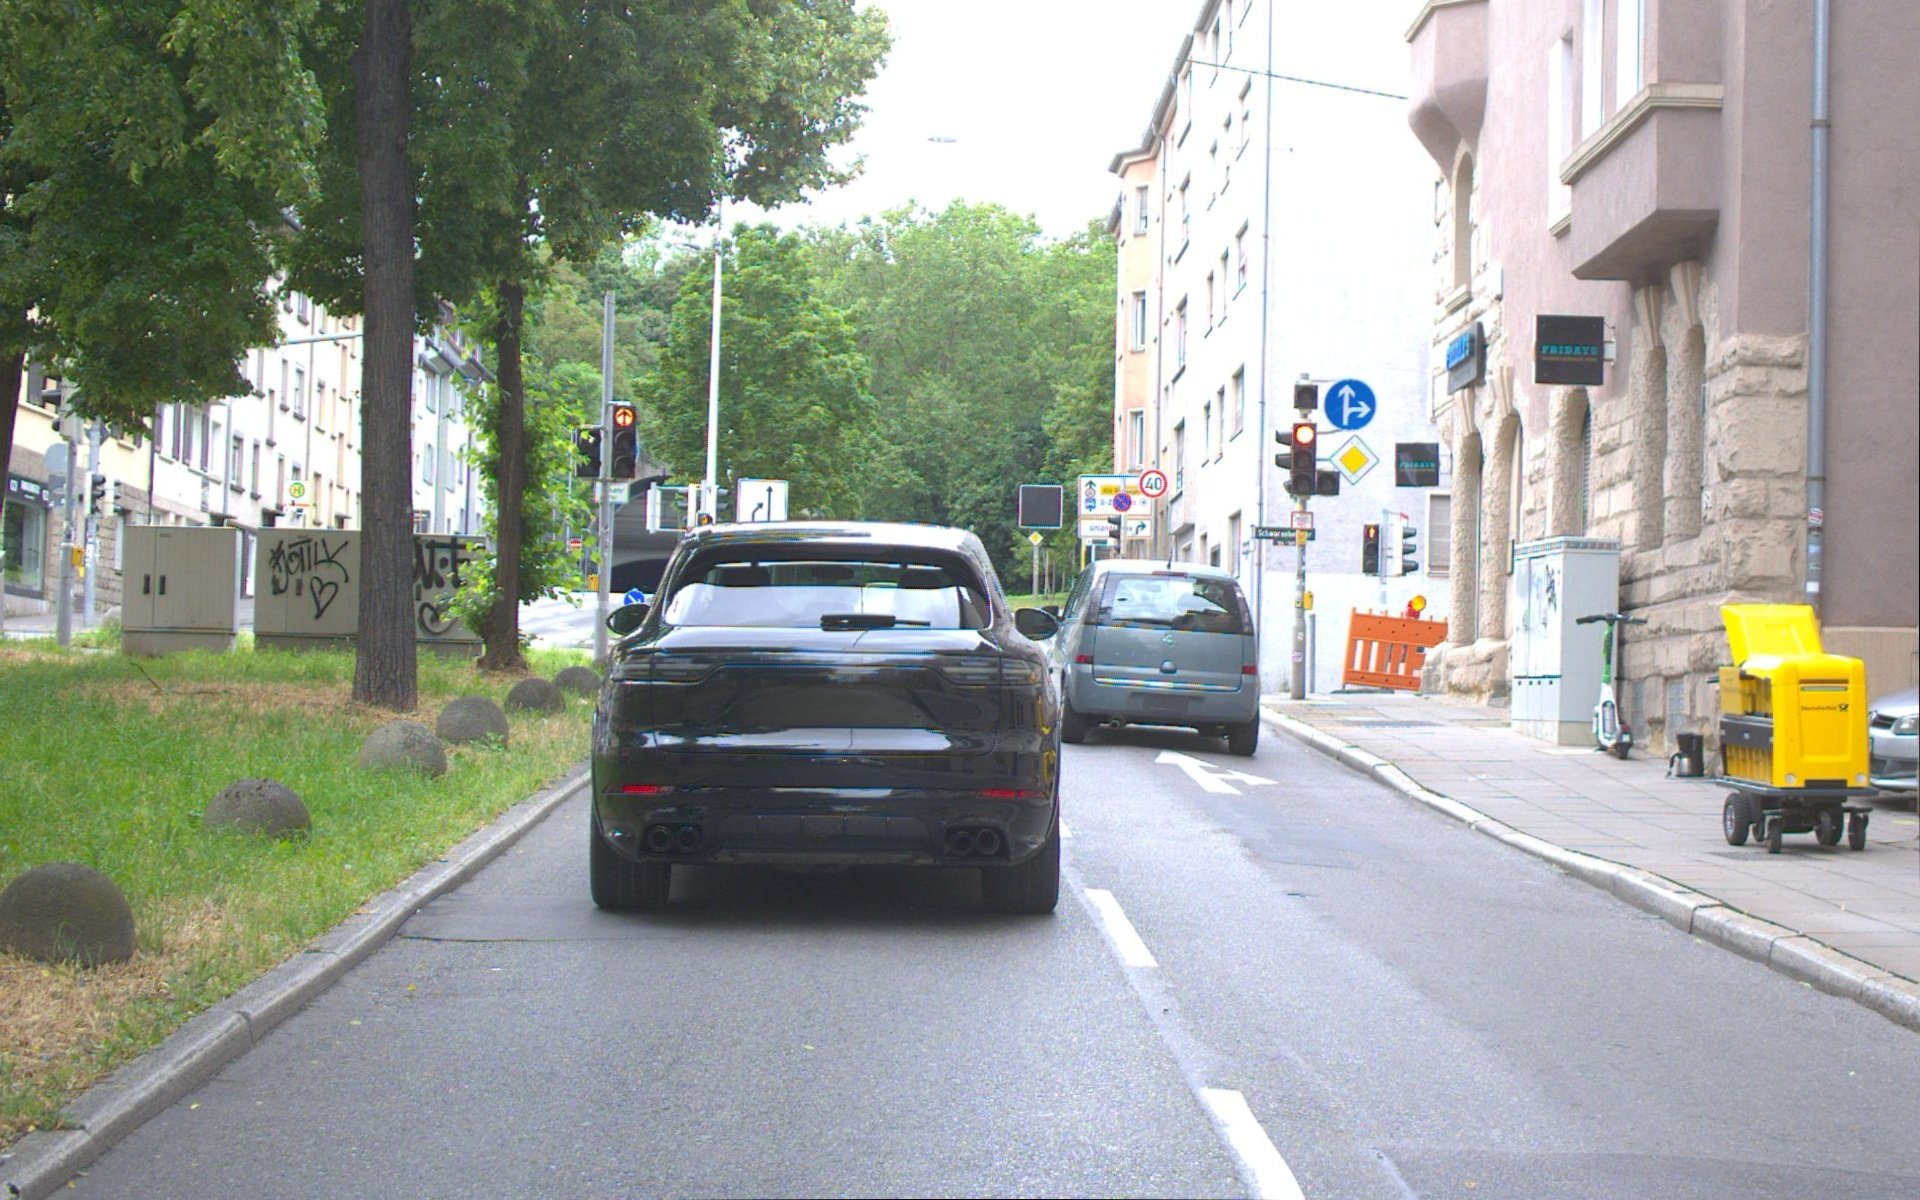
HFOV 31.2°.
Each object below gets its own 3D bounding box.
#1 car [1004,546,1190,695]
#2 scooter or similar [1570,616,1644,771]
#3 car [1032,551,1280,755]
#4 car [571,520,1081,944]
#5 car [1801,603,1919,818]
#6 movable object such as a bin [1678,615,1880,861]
[{"bbox_3d":[1.566,0.234,40.746,1.994,1.647,4.000,1,0,0],"label":"car"},{"bbox_3d":[5.300,0.750,28.207,0.401,1.184,1.354,0,2,3],"label":"scooter or similar"},{"bbox_3d":[1.668,0.419,30.435,1.752,1.588,3.631,4,1,-2],"label":"car"},{"bbox_3d":[-0.542,0.487,15.628,1.994,1.647,4.000,1,1,0],"label":"car"},{"bbox_3d":[8.319,0.831,24.830,3.987,1.398,1.800,2,3,-1],"label":"car"},{"bbox_3d":[4.908,0.803,20.704,0.719,1.416,1.693,1,-1,-3],"label":"movable object such as a bin"}]
